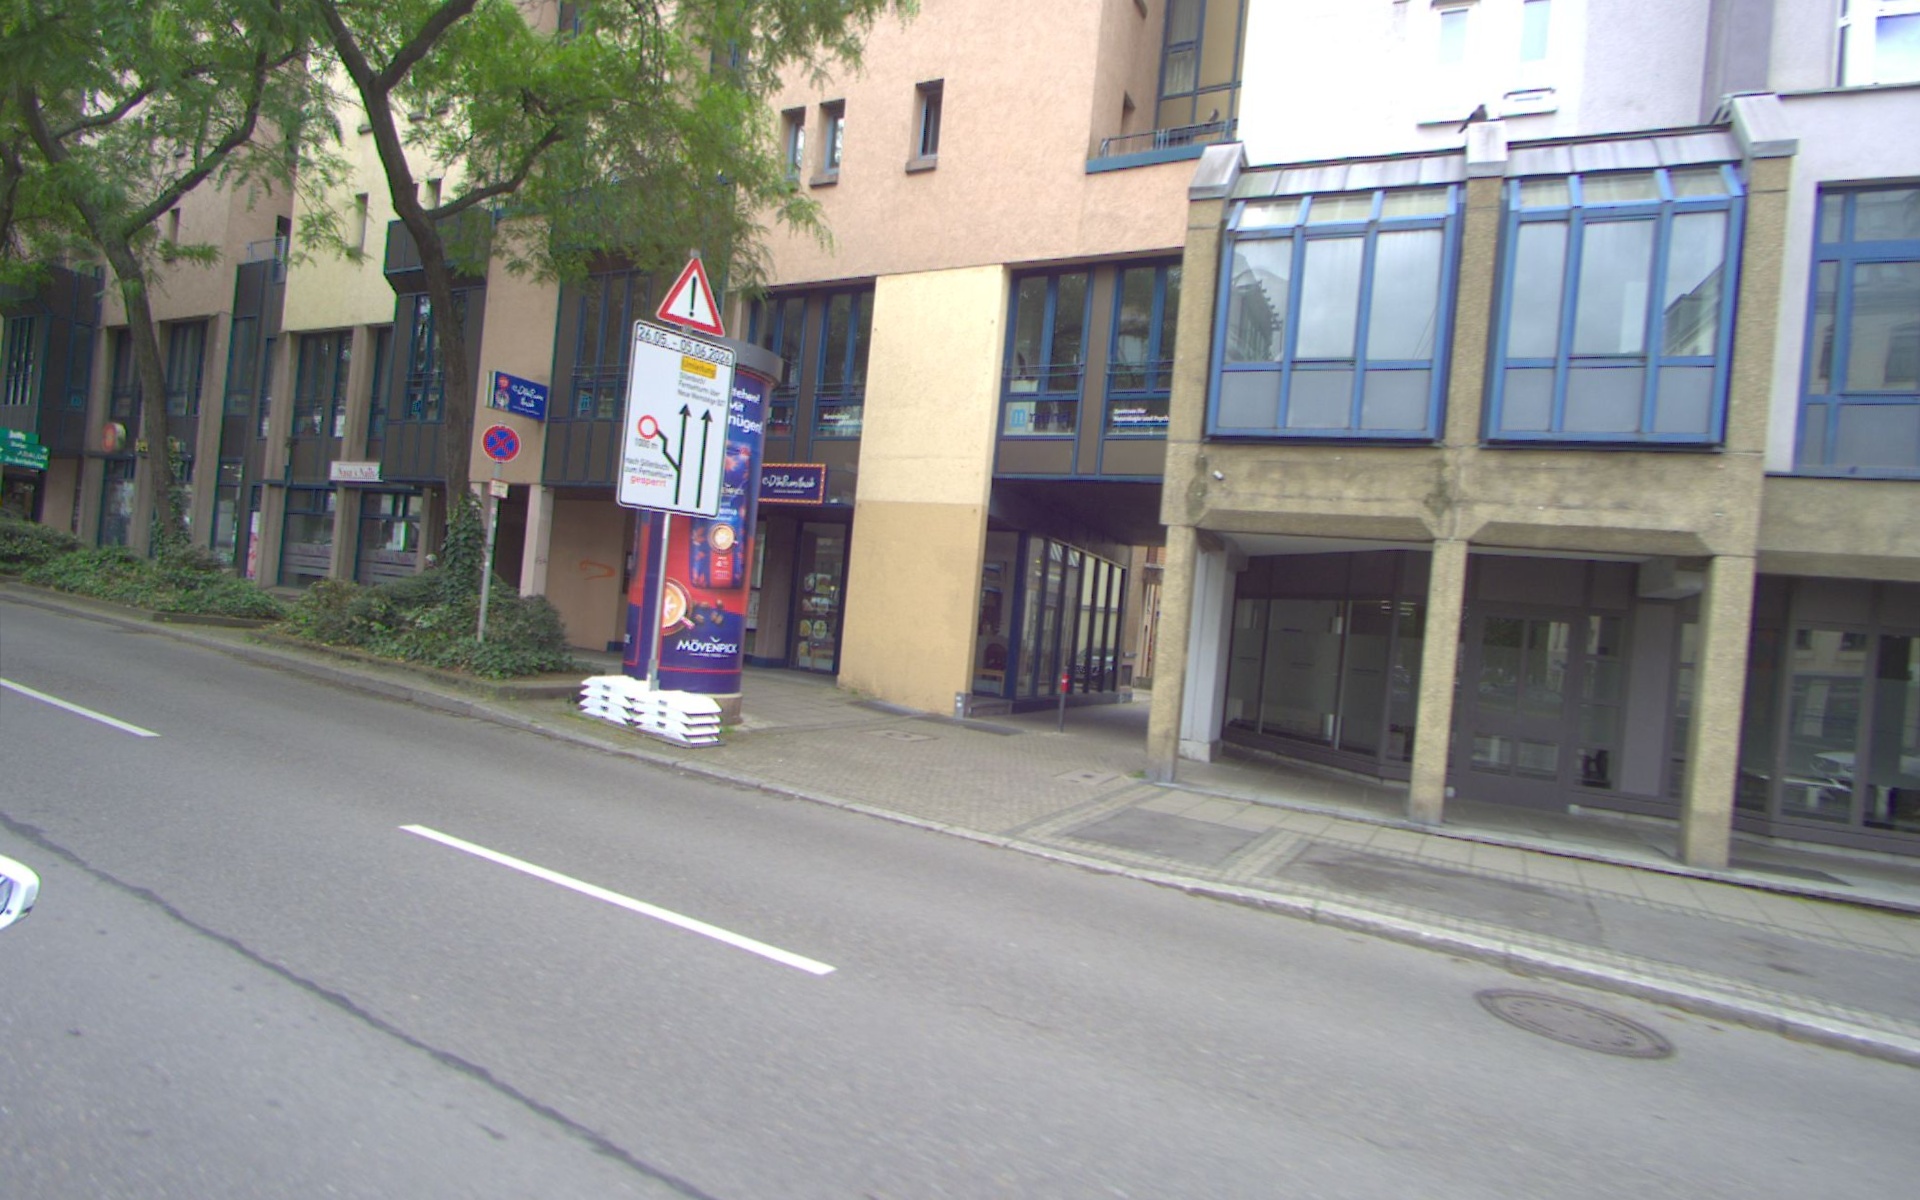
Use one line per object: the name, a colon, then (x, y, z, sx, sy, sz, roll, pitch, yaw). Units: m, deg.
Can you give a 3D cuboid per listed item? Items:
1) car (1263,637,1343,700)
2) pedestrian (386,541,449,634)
car: (10.976, 2.219, 31.984, 1.787, 1.578, 4.645, 7, -3, 25)
pedestrian: (-10.763, -0.241, 19.968, 0.677, 1.732, 0.709, 8, 0, 36)
